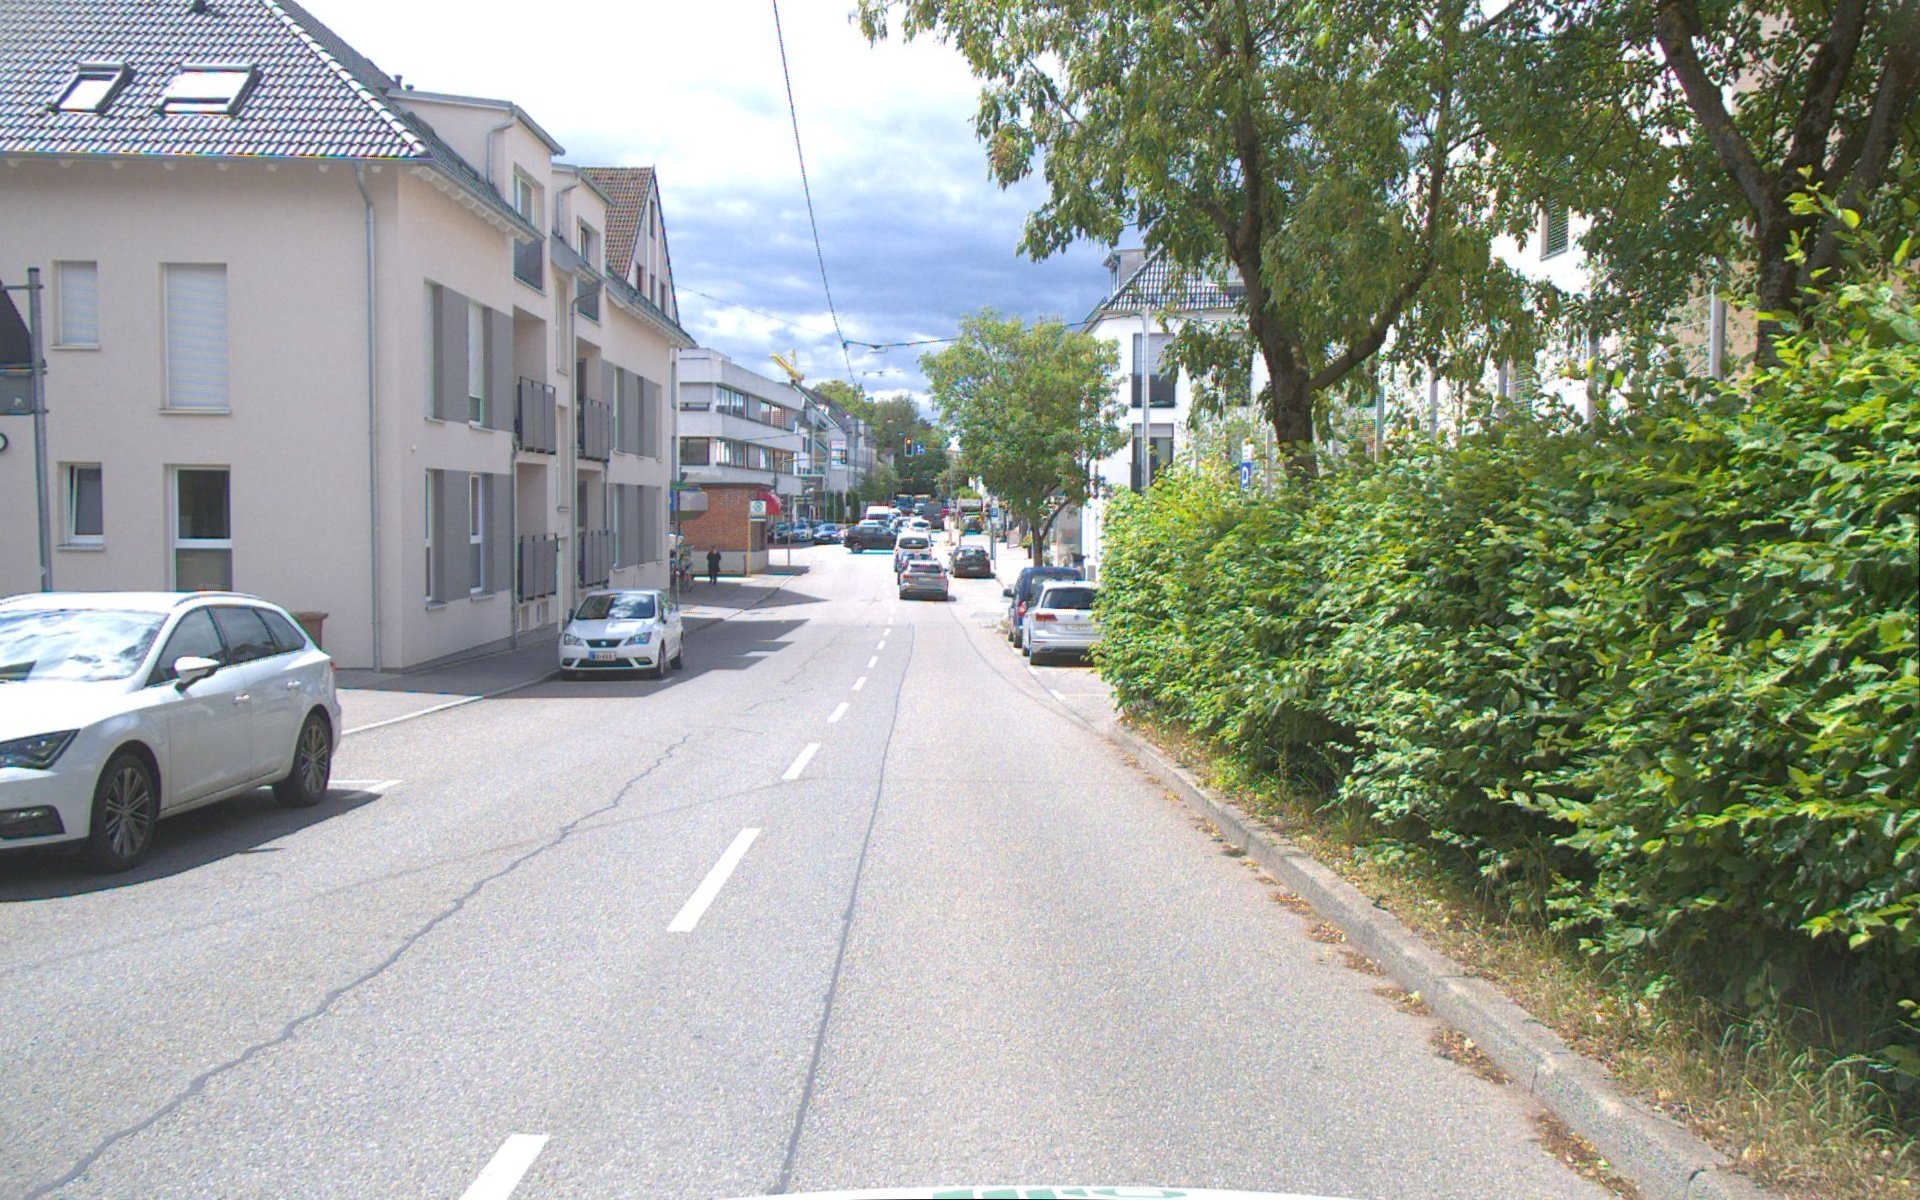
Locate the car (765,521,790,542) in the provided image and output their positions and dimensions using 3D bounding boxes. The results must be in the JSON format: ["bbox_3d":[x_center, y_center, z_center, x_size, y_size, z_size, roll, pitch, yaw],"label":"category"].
[{"bbox_3d":[-13.380,-5.014,121.480,1.520,1.400,3.398,1,1,-1],"label":"car"}]

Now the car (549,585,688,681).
[{"bbox_3d":[-5.661,0.500,27.781,1.614,1.443,3.698,1,1,-1],"label":"car"}]

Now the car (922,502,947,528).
[{"bbox_3d":[-2.520,-8.392,163.459,2.387,2.358,5.326,2,2,-2],"label":"car"}]

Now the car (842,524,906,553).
[{"bbox_3d":[-5.309,-3.814,102.275,3.617,1.642,1.557,2,1,-35],"label":"car"}]

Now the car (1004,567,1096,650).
[{"bbox_3d":[2.045,0.151,38.724,1.807,1.798,4.514,1,1,-1],"label":"car"}]

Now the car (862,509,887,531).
[{"bbox_3d":[-7.268,-6.787,140.350,1.834,1.668,4.001,1,1,1],"label":"car"}]

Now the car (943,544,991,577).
[{"bbox_3d":[0.302,-1.930,79.306,1.720,1.394,3.995,1,4,-8],"label":"car"}]

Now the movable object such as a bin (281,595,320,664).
[{"bbox_3d":[-9.476,0.425,23.768,0.405,0.970,0.391,1,0,-4],"label":"movable object such as a bin"}]

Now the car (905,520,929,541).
[{"bbox_3d":[-3.374,-5.488,131.377,1.850,1.534,4.000,-1,1,-1],"label":"car"}]

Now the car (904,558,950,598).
[{"bbox_3d":[-1.267,-0.867,63.534,1.709,1.441,4.000,0,1,-1],"label":"car"}]

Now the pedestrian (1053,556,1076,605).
[{"bbox_3d":[3.582,-0.665,56.815,0.721,1.676,0.616,2,0,0],"label":"pedestrian"}]

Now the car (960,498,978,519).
[{"bbox_3d":[0.969,-9.817,176.752,1.765,2.049,3.999,1,1,-1],"label":"car"}]

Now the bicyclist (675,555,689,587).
[{"bbox_3d":[-10.491,-1.085,62.458,0.448,1.199,0.625,0,1,-1],"label":"bicyclist"}]

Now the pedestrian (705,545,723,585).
[{"bbox_3d":[-10.297,-1.463,69.230,0.615,1.630,0.563,1,1,2],"label":"pedestrian"}]

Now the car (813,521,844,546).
[{"bbox_3d":[-9.719,-4.898,122.305,1.834,1.668,4.001,2,1,1],"label":"car"}]

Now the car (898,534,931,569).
[{"bbox_3d":[-2.589,-2.759,93.918,1.799,1.894,3.850,1,1,-1],"label":"car"}]

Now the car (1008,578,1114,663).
[{"bbox_3d":[1.947,0.361,33.144,1.750,1.535,4.364,1,1,-1],"label":"car"}]

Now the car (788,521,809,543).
[{"bbox_3d":[-12.373,-5.177,126.792,1.356,1.567,3.398,1,1,-1],"label":"car"}]

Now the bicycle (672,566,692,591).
[{"bbox_3d":[-10.488,-0.819,62.498,0.457,0.876,1.777,2,3,-1],"label":"bicycle"}]

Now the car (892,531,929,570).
[{"bbox_3d":[-2.470,-2.463,82.984,1.799,1.894,3.850,1,1,-1],"label":"car"}]

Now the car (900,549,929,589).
[{"bbox_3d":[-1.998,-1.383,72.519,1.248,1.553,3.051,0,4,-2],"label":"car"}]

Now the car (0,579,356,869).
[{"bbox_3d":[-5.243,0.595,10.155,1.663,1.414,3.866,1,1,-1],"label":"car"}]
